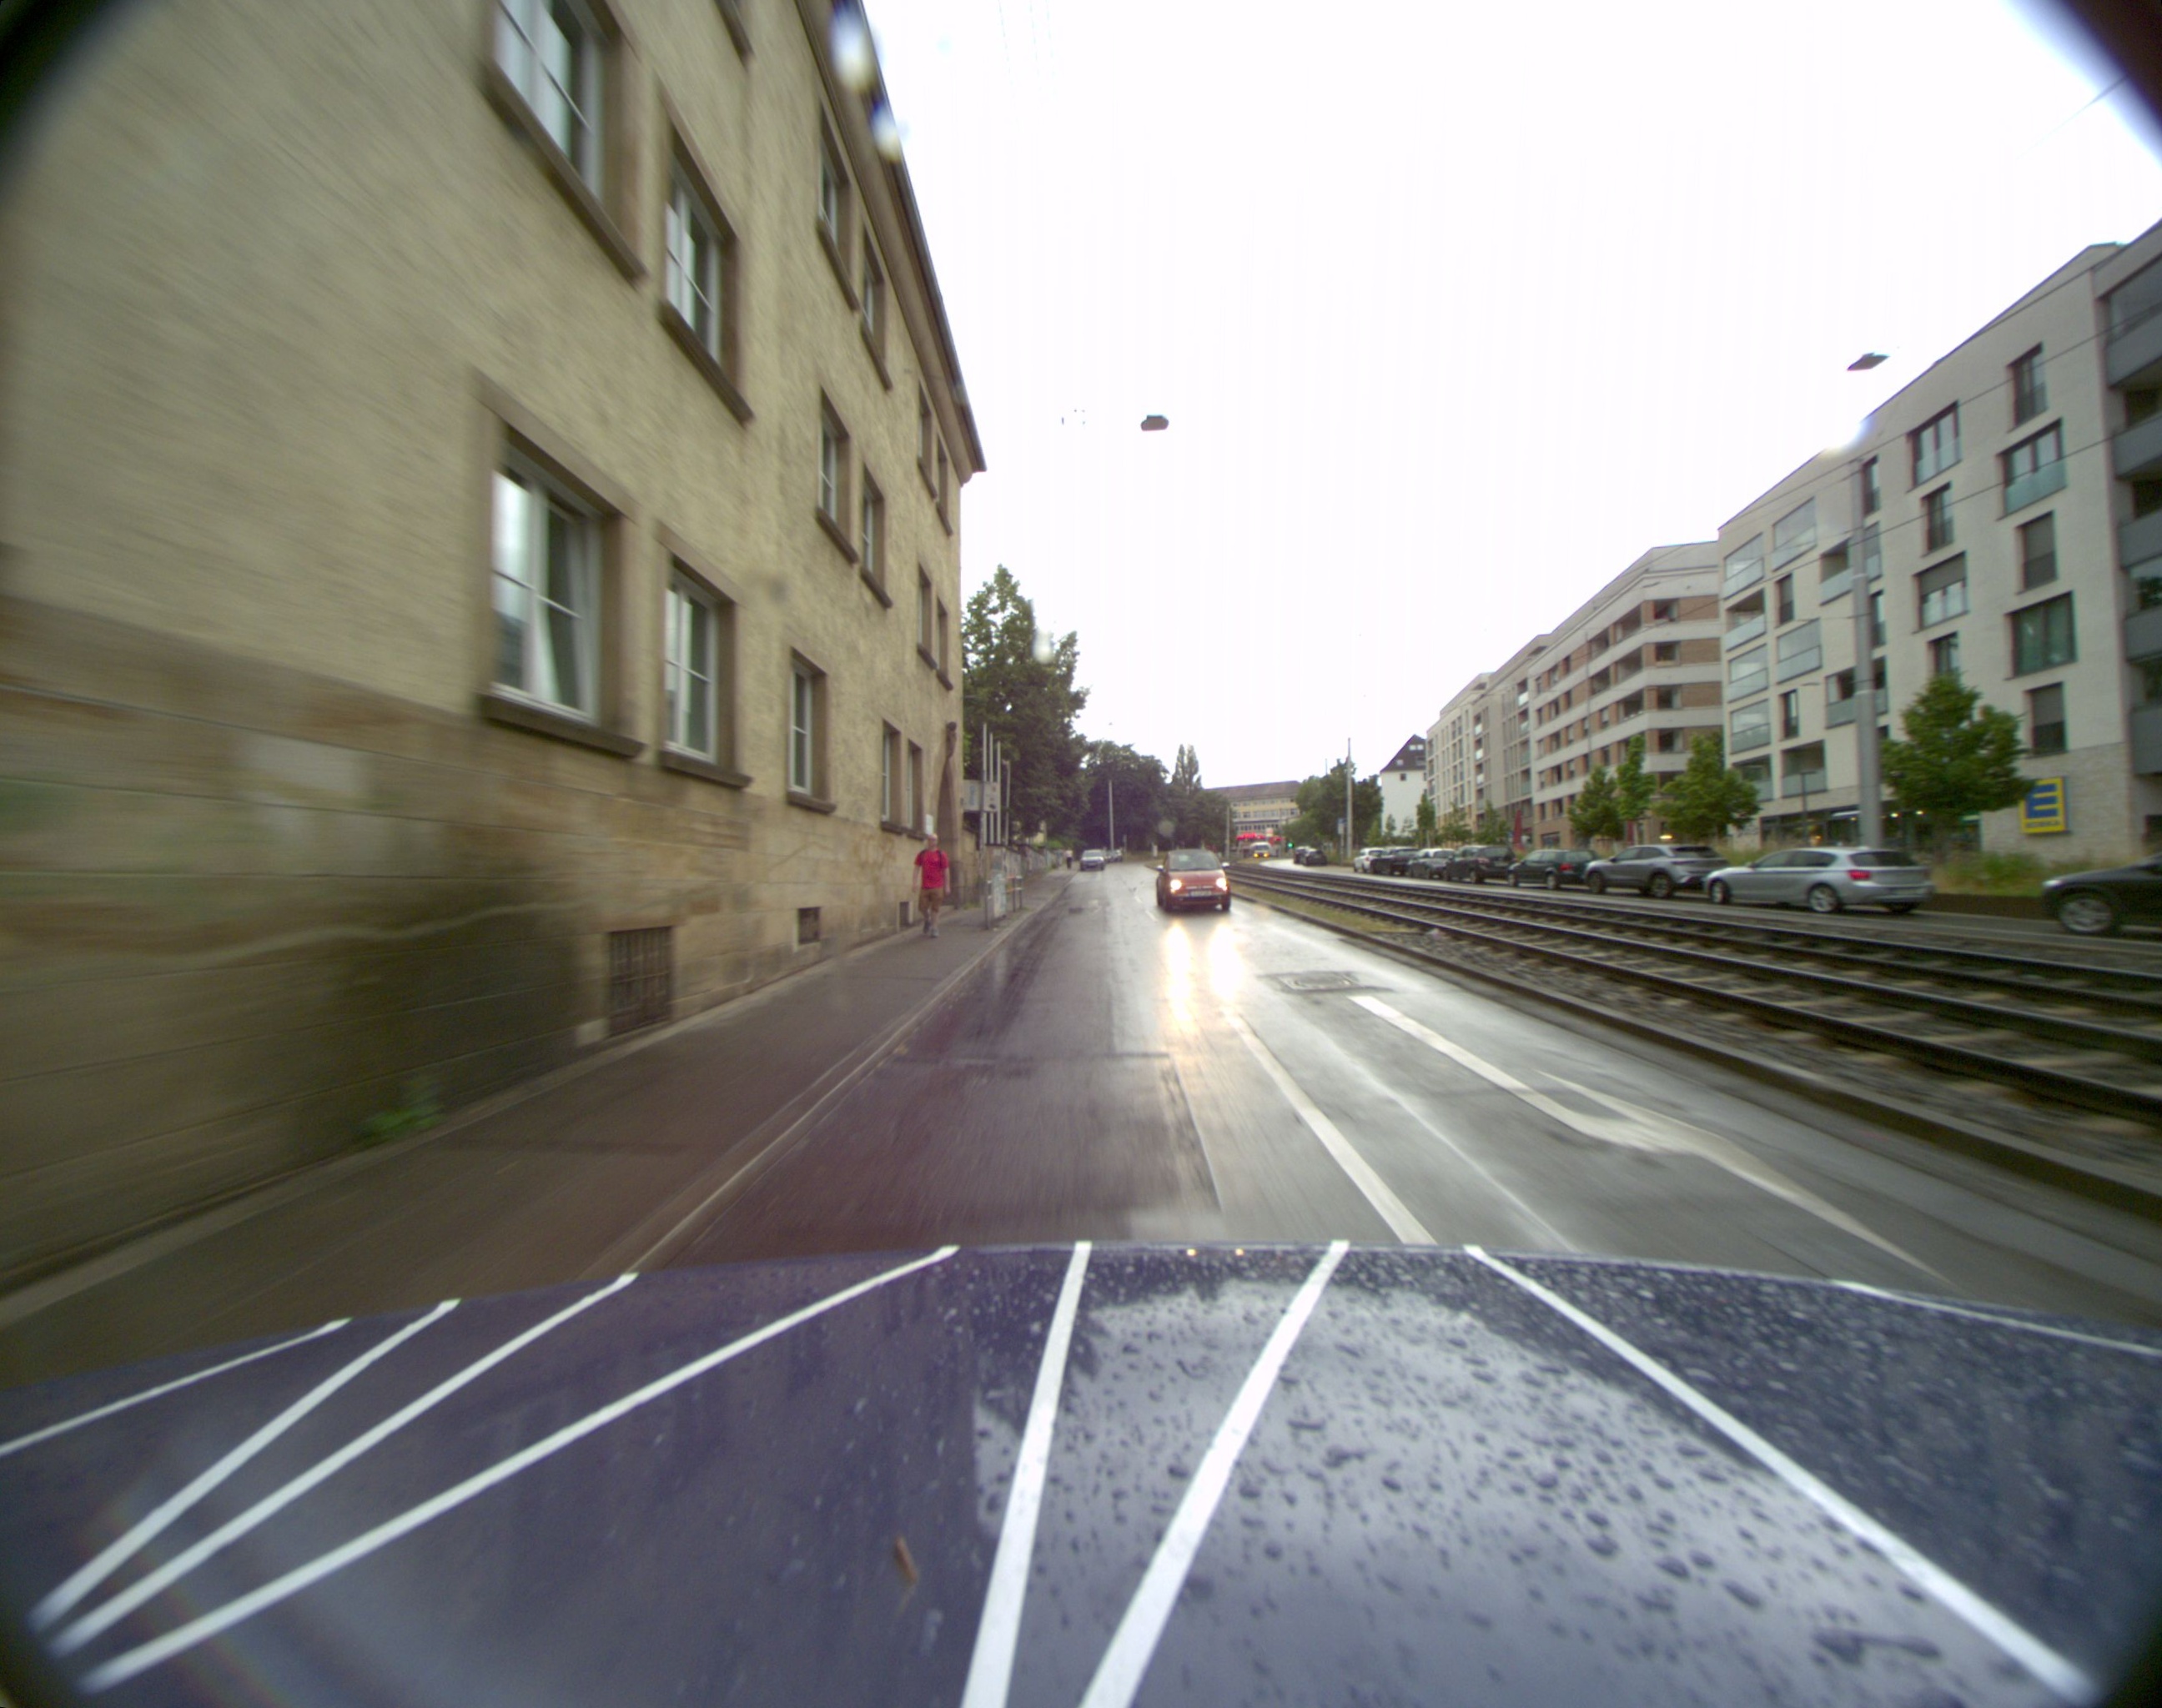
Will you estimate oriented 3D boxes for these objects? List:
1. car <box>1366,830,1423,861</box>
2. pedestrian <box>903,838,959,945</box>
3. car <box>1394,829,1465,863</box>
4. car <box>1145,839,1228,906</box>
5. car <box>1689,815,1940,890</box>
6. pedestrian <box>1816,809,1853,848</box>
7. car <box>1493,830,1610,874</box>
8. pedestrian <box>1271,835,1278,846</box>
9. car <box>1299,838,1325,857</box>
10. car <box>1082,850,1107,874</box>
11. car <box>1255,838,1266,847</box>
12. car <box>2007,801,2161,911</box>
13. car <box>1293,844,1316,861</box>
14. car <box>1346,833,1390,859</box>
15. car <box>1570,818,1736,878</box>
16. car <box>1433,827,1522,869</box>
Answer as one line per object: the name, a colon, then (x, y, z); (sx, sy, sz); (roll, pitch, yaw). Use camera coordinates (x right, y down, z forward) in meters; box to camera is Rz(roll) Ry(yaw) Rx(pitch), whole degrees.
car: (17.296, -0.486, 42.162); (1.683, 1.496, 4.406); (-3, 1, 6)
pedestrian: (-2.560, 0.617, 13.021); (0.748, 1.754, 0.818); (1, 1, 1)
car: (17.127, -0.402, 37.512); (1.684, 1.496, 3.928); (-3, 1, 1)
car: (2.652, 0.411, 19.800); (1.593, 1.455, 3.670); (-4, 1, 1)
car: (16.710, -0.058, 17.680); (1.684, 1.456, 4.329); (-3, 1, 1)
pedestrian: (29.001, -0.966, 29.252); (0.657, 1.441, 0.803); (-4, 1, 14)
car: (16.694, -0.099, 27.206); (1.684, 1.373, 4.033); (-3, 1, 1)
pedestrian: (31.972, -2.185, 125.436); (0.816, 1.754, 0.751); (1, 1, 41)
car: (20.026, -0.559, 66.086); (1.653, 1.455, 3.672); (-4, 1, 10)
car: (1.019, 0.574, 58.600); (1.726, 1.676, 3.866); (-4, 1, 1)
car: (34.692, -2.184, 146.960); (1.666, 1.597, 3.812); (-4, 1, 17)
car: (16.683, 0.001, 10.838); (1.684, 1.594, 4.329); (-3, 1, 1)
car: (21.842, -0.191, 74.418); (1.653, 1.455, 3.672); (-4, 1, 10)
car: (17.820, -0.526, 47.254); (1.649, 1.496, 3.782); (-3, 1, 7)
car: (16.758, -0.180, 22.548); (1.685, 1.521, 4.048); (-3, 1, -3)
car: (16.684, -0.259, 32.191); (1.684, 1.554, 3.928); (-3, 1, 1)
